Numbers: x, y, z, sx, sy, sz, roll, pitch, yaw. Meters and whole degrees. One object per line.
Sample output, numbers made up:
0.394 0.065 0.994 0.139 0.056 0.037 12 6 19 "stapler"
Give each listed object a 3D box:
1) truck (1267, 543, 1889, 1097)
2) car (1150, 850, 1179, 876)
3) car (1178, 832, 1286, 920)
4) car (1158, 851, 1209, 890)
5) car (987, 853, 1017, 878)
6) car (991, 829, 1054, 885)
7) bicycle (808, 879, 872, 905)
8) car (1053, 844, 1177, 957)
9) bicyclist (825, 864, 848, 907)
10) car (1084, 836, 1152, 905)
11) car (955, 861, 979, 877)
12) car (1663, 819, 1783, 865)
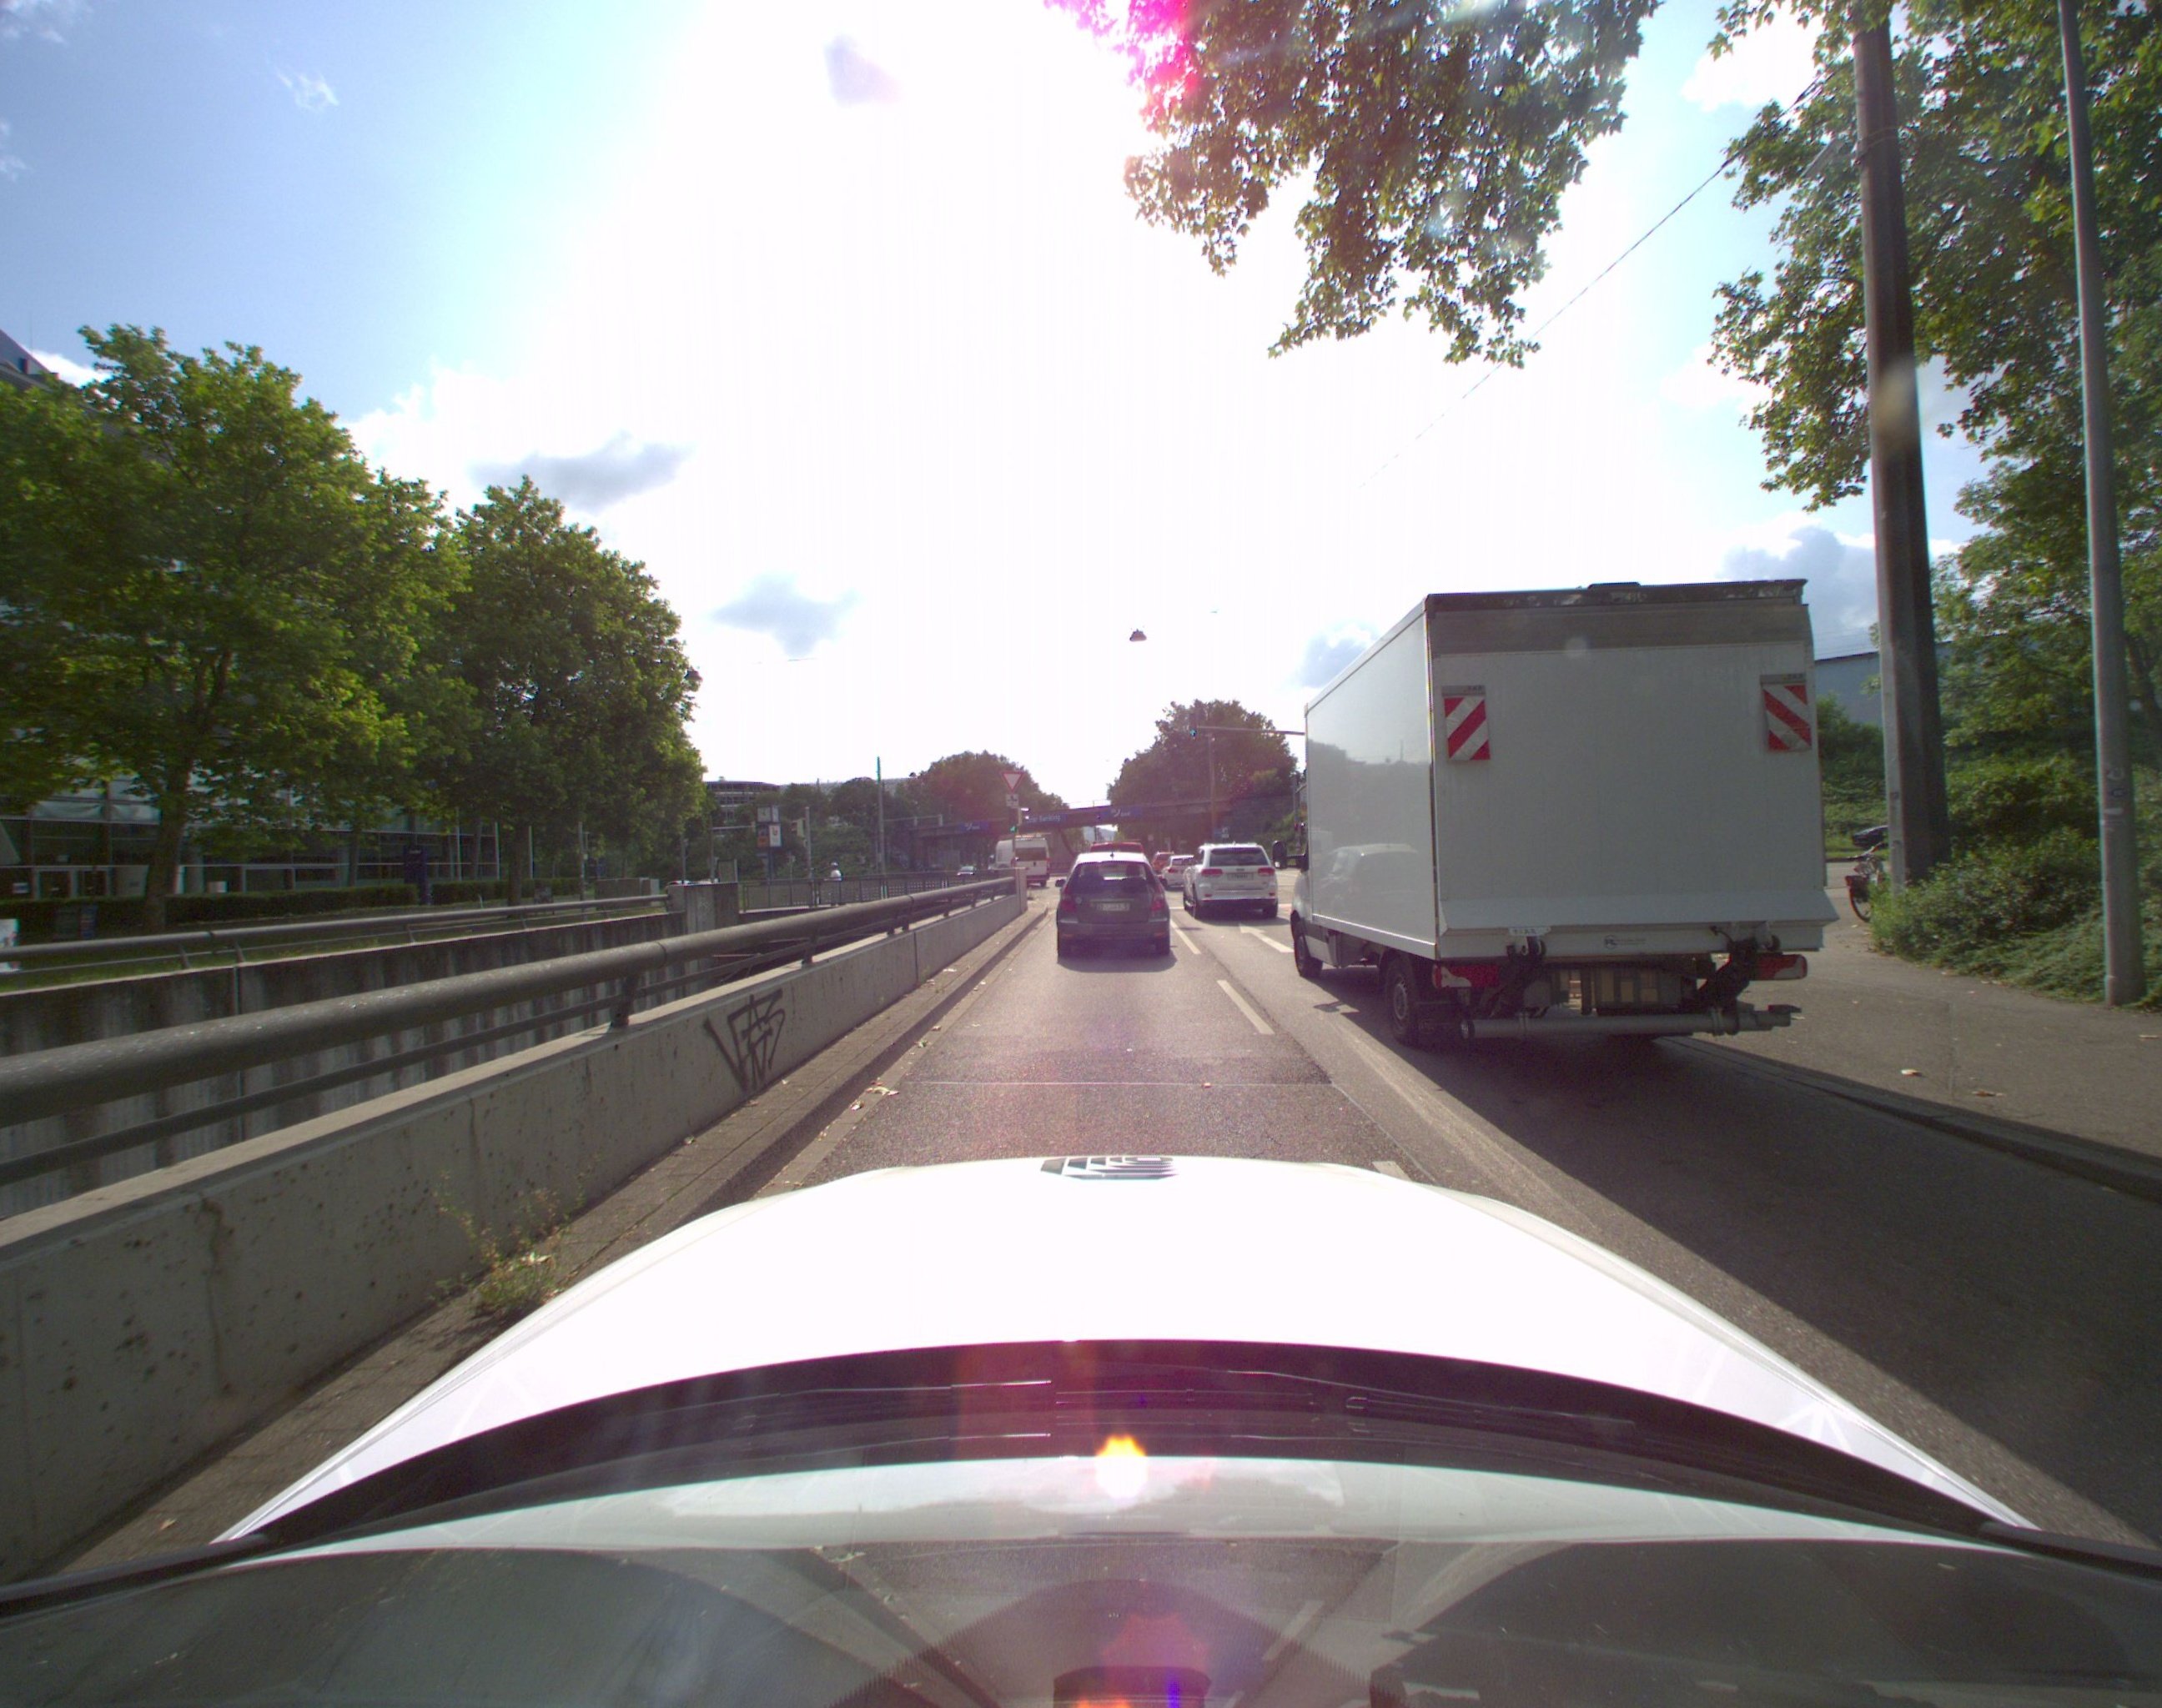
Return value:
3.495 -0.152 7.672 2.436 3.121 6.034 -1 -1 4 "truck"
5.104 0.582 49.900 1.538 1.522 3.618 -1 -1 2 "car"
3.602 0.469 20.225 1.987 1.901 4.512 -1 0 2 "car"
4.288 0.716 34.612 1.844 1.522 3.618 -1 -1 2 "car"
-8.548 1.255 88.469 2.248 2.526 5.631 -2 -1 4 "car"
-3.160 0.206 42.745 2.203 2.726 4.901 -1 -2 -18 "car"
-8.154 1.284 27.574 1.962 0.826 0.613 -2 -1 5 "bicycle"
0.577 0.676 13.778 1.785 1.608 3.801 -1 0 2 "car"
-8.280 1.049 27.579 0.507 1.404 0.627 -3 -1 6 "bicyclist"
1.191 0.488 26.198 1.948 2.017 4.679 -1 0 2 "car"
-12.042 1.584 86.248 1.696 1.476 4.001 -5 -1 1 "car"
27.949 -0.495 35.638 3.972 1.749 1.989 -3 -1 36 "car"
